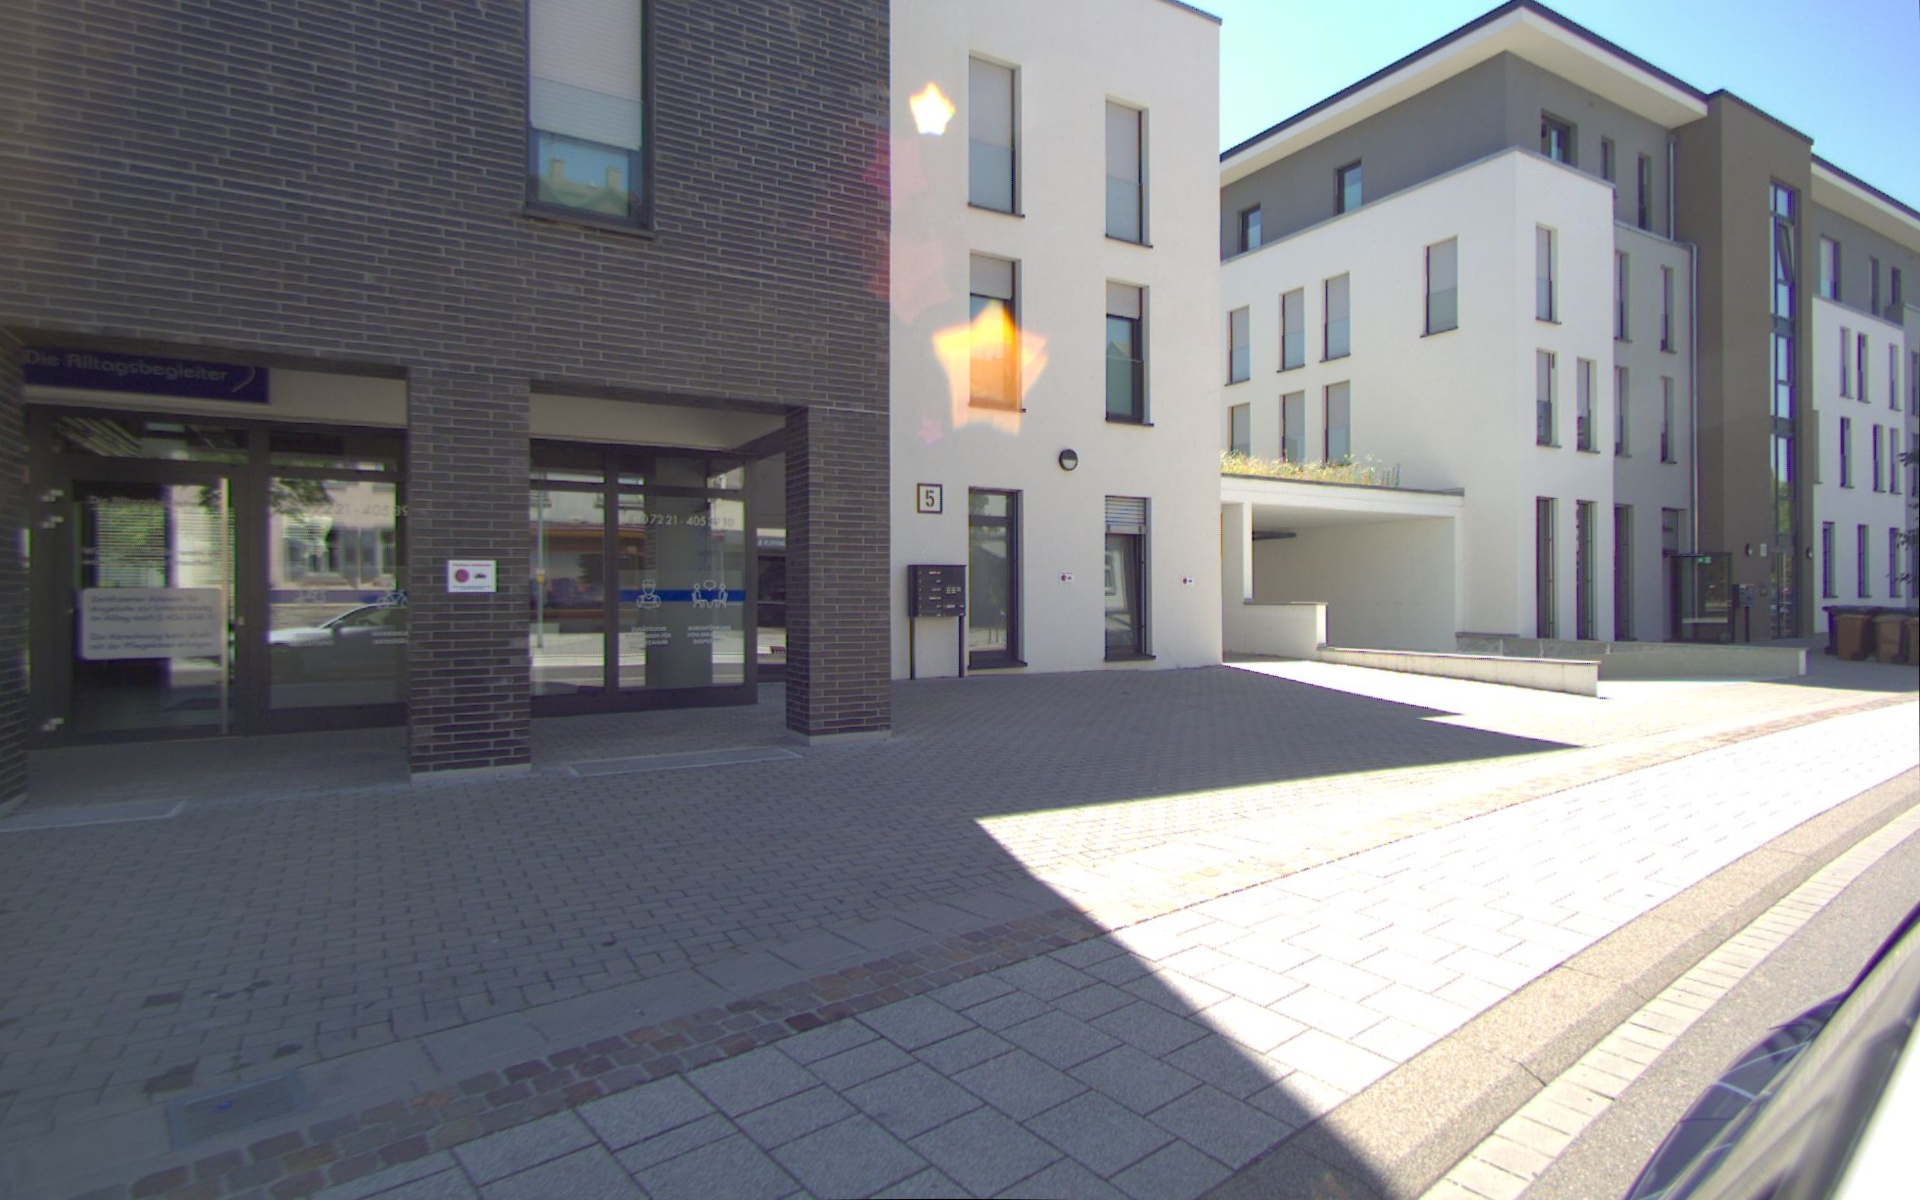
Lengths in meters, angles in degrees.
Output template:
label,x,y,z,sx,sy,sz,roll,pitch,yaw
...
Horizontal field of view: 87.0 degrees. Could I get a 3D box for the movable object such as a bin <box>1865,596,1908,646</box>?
label,x,y,z,sx,sy,sz,roll,pitch,yaw
movable object such as a bin,20.876,0.456,22.805,0.615,1.073,0.647,-1,3,-43

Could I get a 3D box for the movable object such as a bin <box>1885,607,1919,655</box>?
label,x,y,z,sx,sy,sz,roll,pitch,yaw
movable object such as a bin,19.166,0.619,20.503,0.512,0.942,0.467,0,2,-31

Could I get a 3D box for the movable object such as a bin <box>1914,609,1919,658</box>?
label,x,y,z,sx,sy,sz,roll,pitch,yaw
movable object such as a bin,18.979,0.653,19.681,0.518,0.942,0.475,0,2,-31

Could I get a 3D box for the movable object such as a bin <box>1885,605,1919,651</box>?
label,x,y,z,sx,sy,sz,roll,pitch,yaw
movable object such as a bin,20.059,0.593,21.532,0.480,0.935,0.432,2,2,37

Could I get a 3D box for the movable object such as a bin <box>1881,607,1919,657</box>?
label,x,y,z,sx,sy,sz,roll,pitch,yaw
movable object such as a bin,18.736,0.624,20.127,0.518,0.942,0.475,0,2,-31

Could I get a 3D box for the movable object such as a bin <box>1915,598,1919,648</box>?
label,x,y,z,sx,sy,sz,roll,pitch,yaw
movable object such as a bin,21.279,0.502,22.036,0.615,1.073,0.647,-1,3,-43

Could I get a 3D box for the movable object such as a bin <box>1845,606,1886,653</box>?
label,x,y,z,sx,sy,sz,roll,pitch,yaw
movable object such as a bin,18.570,0.597,20.765,0.518,0.942,0.475,0,2,-31

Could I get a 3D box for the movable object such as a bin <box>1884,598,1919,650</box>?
label,x,y,z,sx,sy,sz,roll,pitch,yaw
movable object such as a bin,20.592,0.509,21.927,0.613,1.073,0.649,0,2,-29

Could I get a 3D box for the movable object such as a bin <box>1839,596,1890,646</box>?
label,x,y,z,sx,sy,sz,roll,pitch,yaw
movable object such as a bin,20.197,0.457,22.599,0.613,1.073,0.649,0,2,-29

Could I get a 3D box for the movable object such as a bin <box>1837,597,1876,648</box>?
label,x,y,z,sx,sy,sz,roll,pitch,yaw
movable object such as a bin,19.448,0.481,21.951,0.551,1.054,0.569,-1,3,-44
